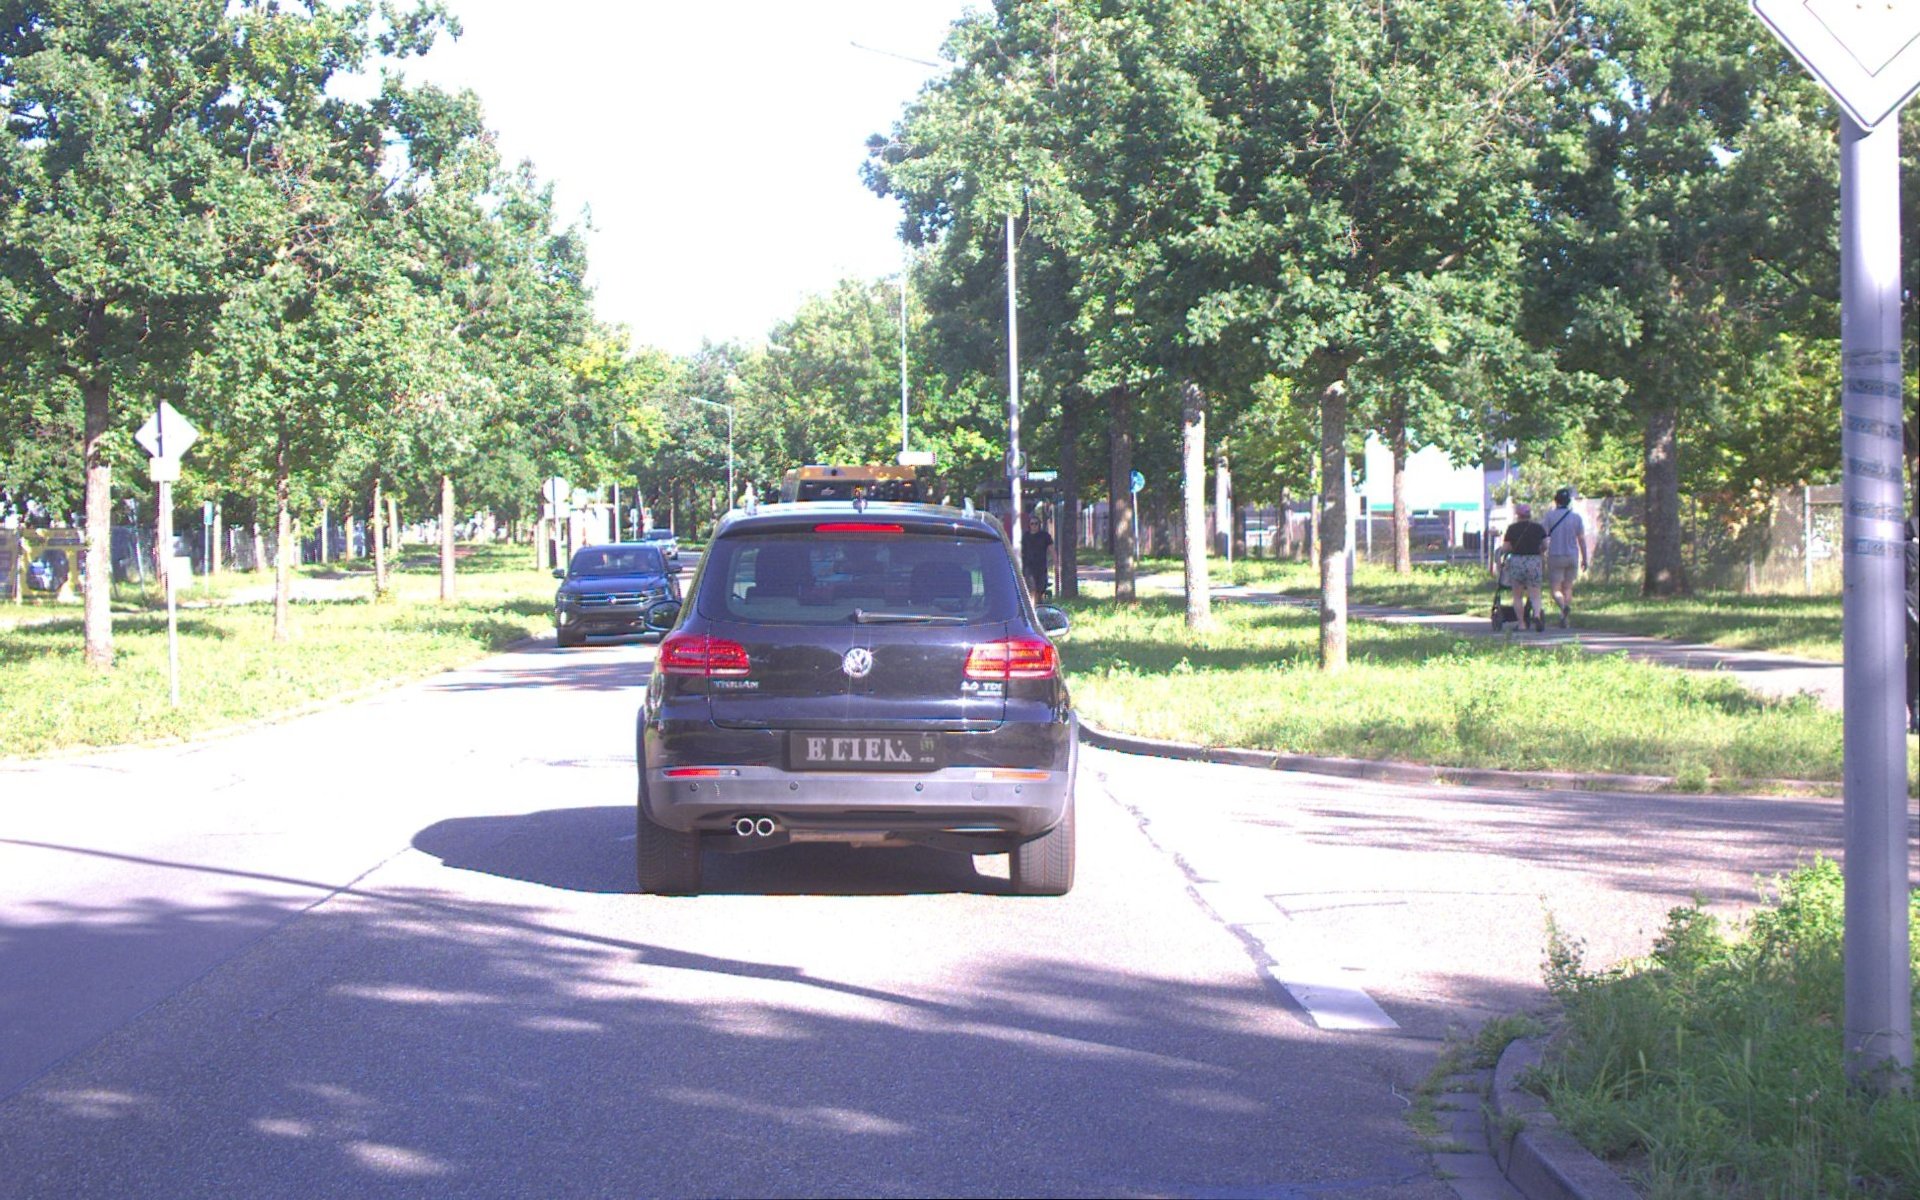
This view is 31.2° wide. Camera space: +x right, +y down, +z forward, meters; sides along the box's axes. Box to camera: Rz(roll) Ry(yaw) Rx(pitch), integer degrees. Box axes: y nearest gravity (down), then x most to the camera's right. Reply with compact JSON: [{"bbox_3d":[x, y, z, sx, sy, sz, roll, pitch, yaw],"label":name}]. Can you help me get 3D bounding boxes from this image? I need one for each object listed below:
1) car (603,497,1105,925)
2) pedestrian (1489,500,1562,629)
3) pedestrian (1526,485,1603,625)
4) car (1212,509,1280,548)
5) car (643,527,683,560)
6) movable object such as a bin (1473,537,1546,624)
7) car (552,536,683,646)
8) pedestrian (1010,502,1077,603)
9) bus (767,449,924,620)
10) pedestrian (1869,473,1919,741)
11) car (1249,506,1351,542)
[{"bbox_3d":[-0.496,0.374,15.608,1.936,1.650,4.428,1,2,-2],"label":"car"},{"bbox_3d":[7.122,-0.453,43.351,0.725,1.597,0.868,-1,1,-2],"label":"pedestrian"},{"bbox_3d":[7.777,-0.588,44.244,0.725,1.749,0.868,-3,1,-2],"label":"pedestrian"},{"bbox_3d":[13.170,-3.313,158.623,2.184,1.738,4.643,-1,1,-7],"label":"car"},{"bbox_3d":[-14.254,-2.716,165.014,1.744,1.460,4.428,-2,2,-3],"label":"car"},{"bbox_3d":[7.069,-0.258,44.230,0.725,1.077,0.868,-3,1,-2],"label":"movable object such as a bin"},{"bbox_3d":[-5.269,-0.181,53.342,1.804,1.531,4.496,-2,2,-3],"label":"car"},{"bbox_3d":[1.381,-0.787,57.068,1.019,1.646,1.100,-1,1,-2],"label":"pedestrian"},{"bbox_3d":[-2.651,-1.484,76.018,2.764,3.444,11.213,-1,1,-5],"label":"bus"},{"bbox_3d":[6.816,0.032,23.922,0.725,1.806,0.868,-1,4,-2],"label":"pedestrian"},{"bbox_3d":[17.053,-3.832,172.430,4.625,1.738,2.192,-1,1,-10],"label":"car"}]
